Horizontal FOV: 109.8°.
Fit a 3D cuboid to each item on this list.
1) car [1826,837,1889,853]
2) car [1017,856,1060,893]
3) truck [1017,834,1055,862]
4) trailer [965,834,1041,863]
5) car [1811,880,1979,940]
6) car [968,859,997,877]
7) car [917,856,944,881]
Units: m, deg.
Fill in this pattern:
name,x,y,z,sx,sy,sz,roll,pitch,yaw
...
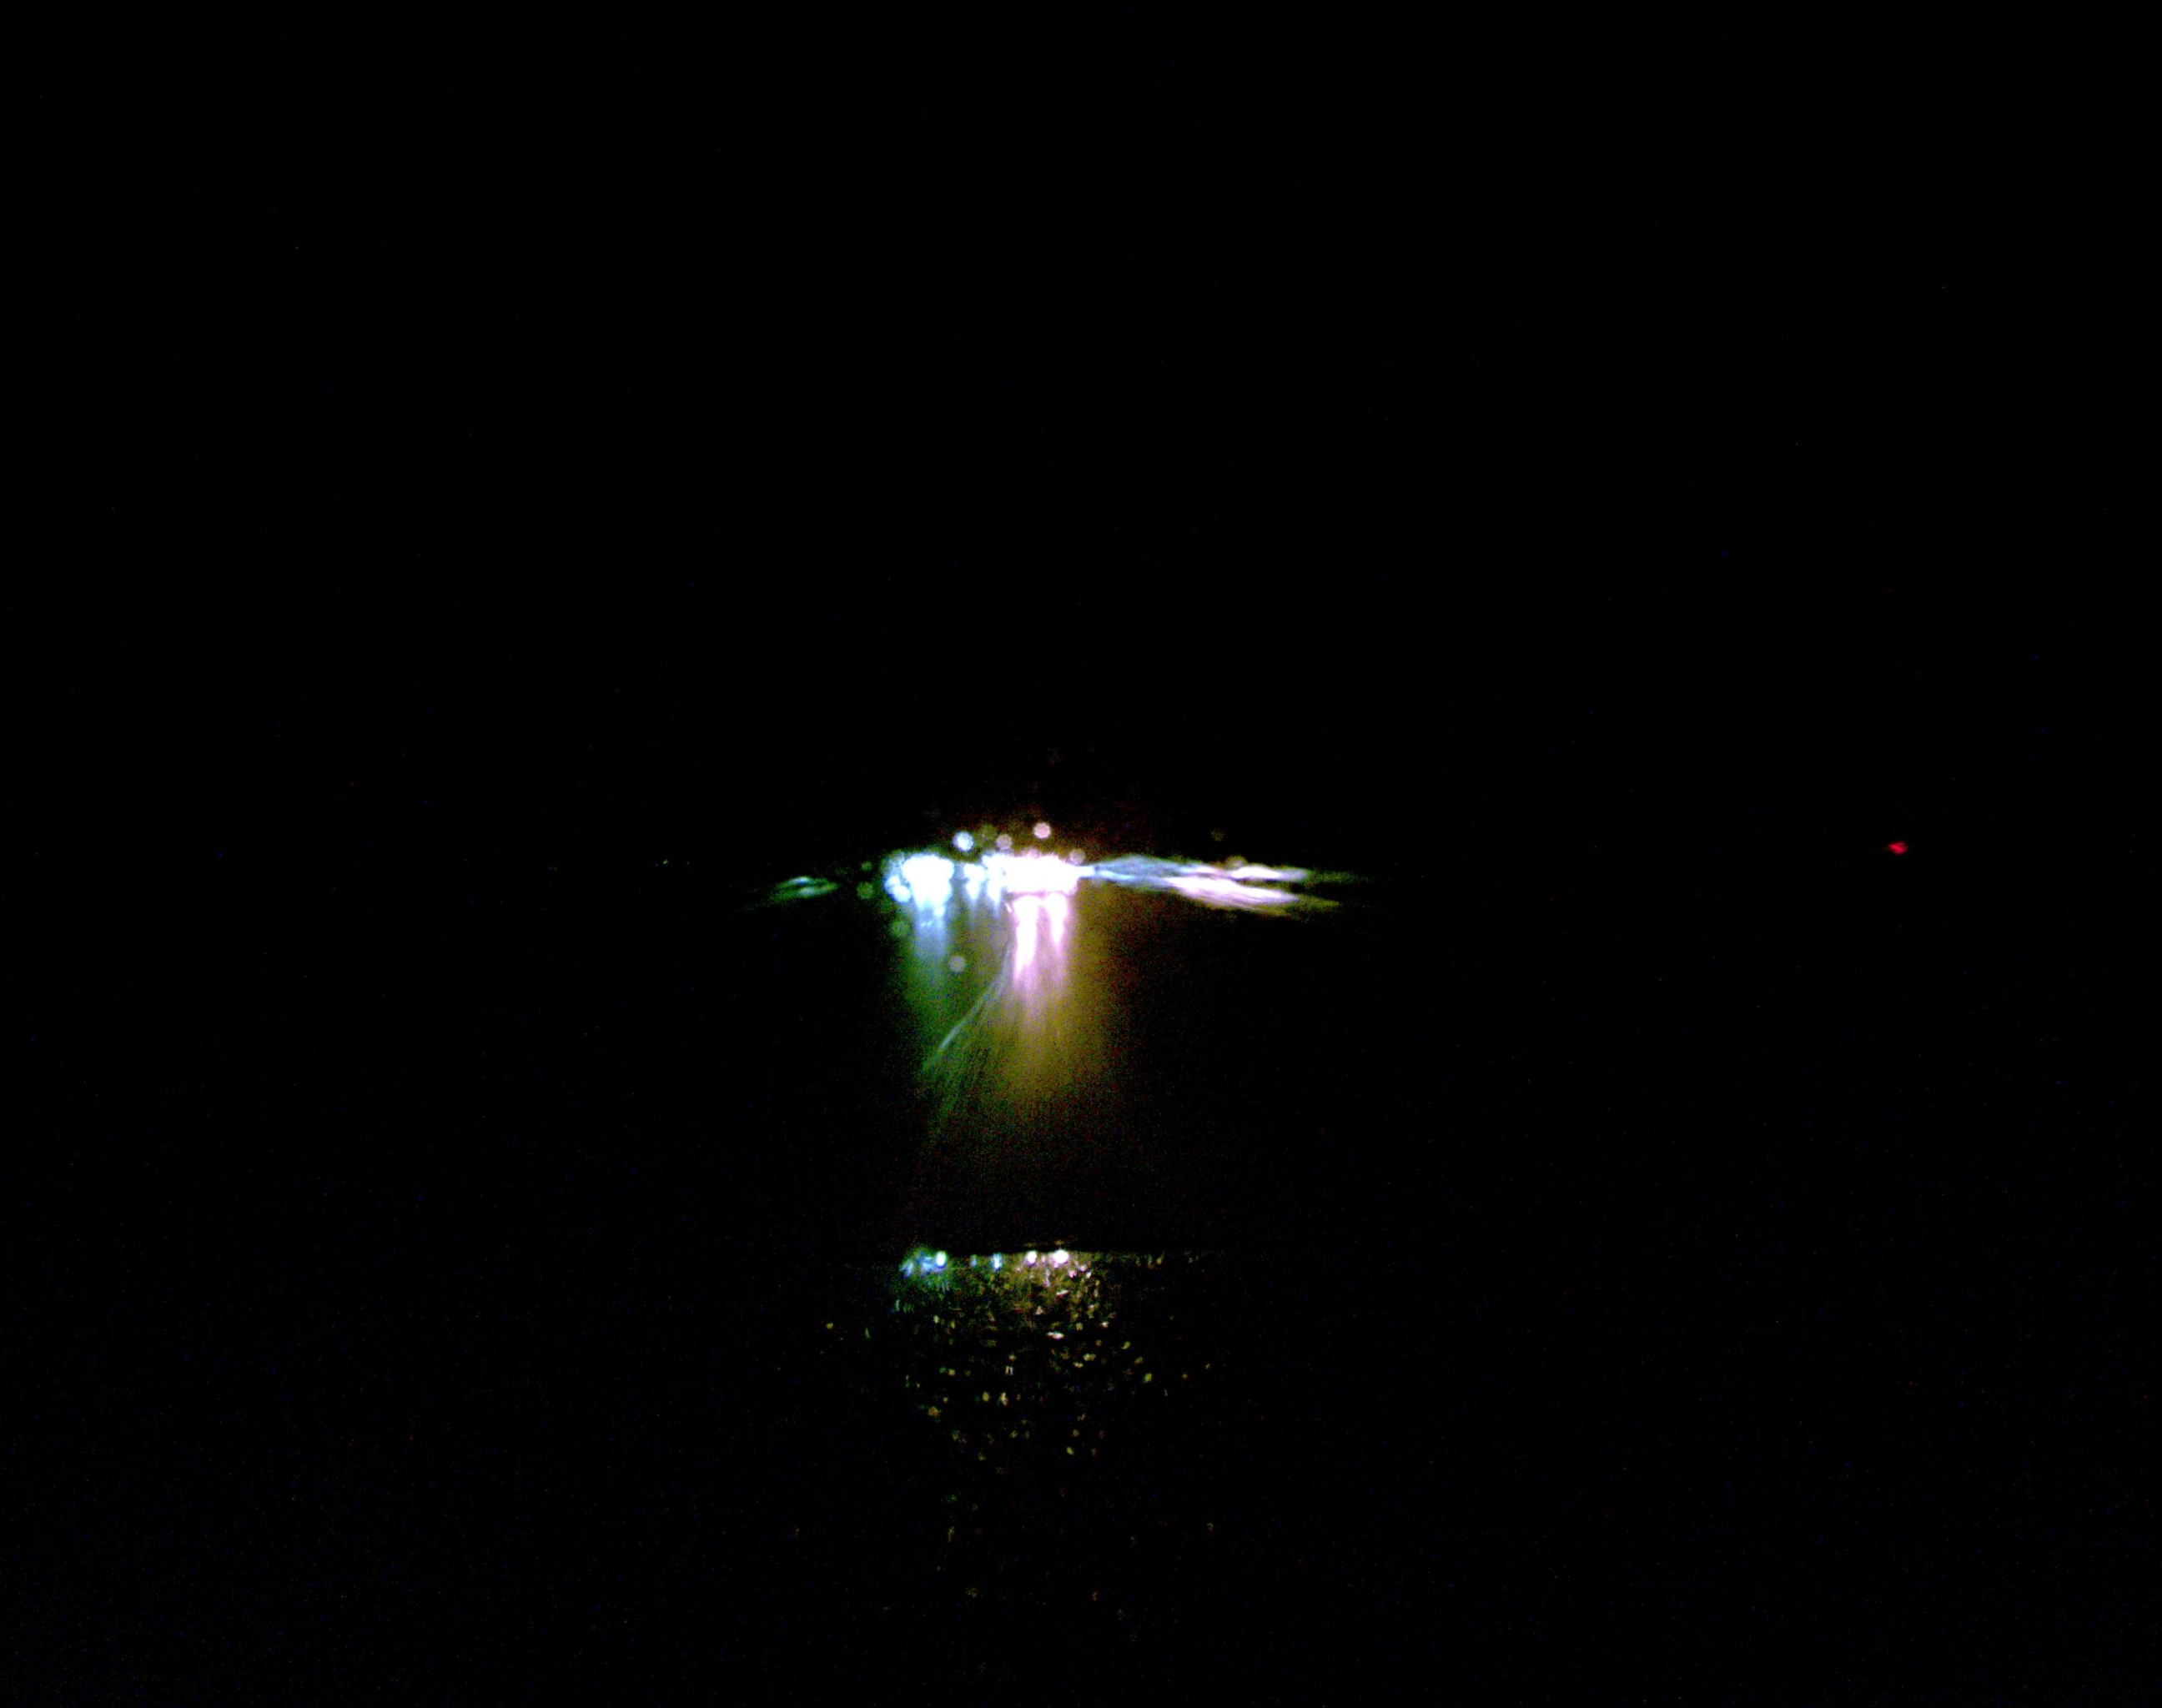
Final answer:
name,x,y,z,sx,sy,sz,roll,pitch,yaw
car,78.028,-0.900,76.435,4.099,1.532,1.893,-1,2,32
car,-1.877,0.888,34.241,1.687,1.442,3.642,-3,0,0
truck,-7.313,-1.020,124.365,5.549,4.312,2.544,-1,2,30
trailer,-13.286,-0.880,127.813,13.673,4.312,2.544,-1,2,30
car,24.917,1.640,23.480,1.728,1.390,3.932,2,2,16
car,-7.434,1.023,57.063,1.762,1.304,4.081,-2,0,-12
car,-11.113,1.032,56.151,1.742,1.674,4.117,-3,0,-9
